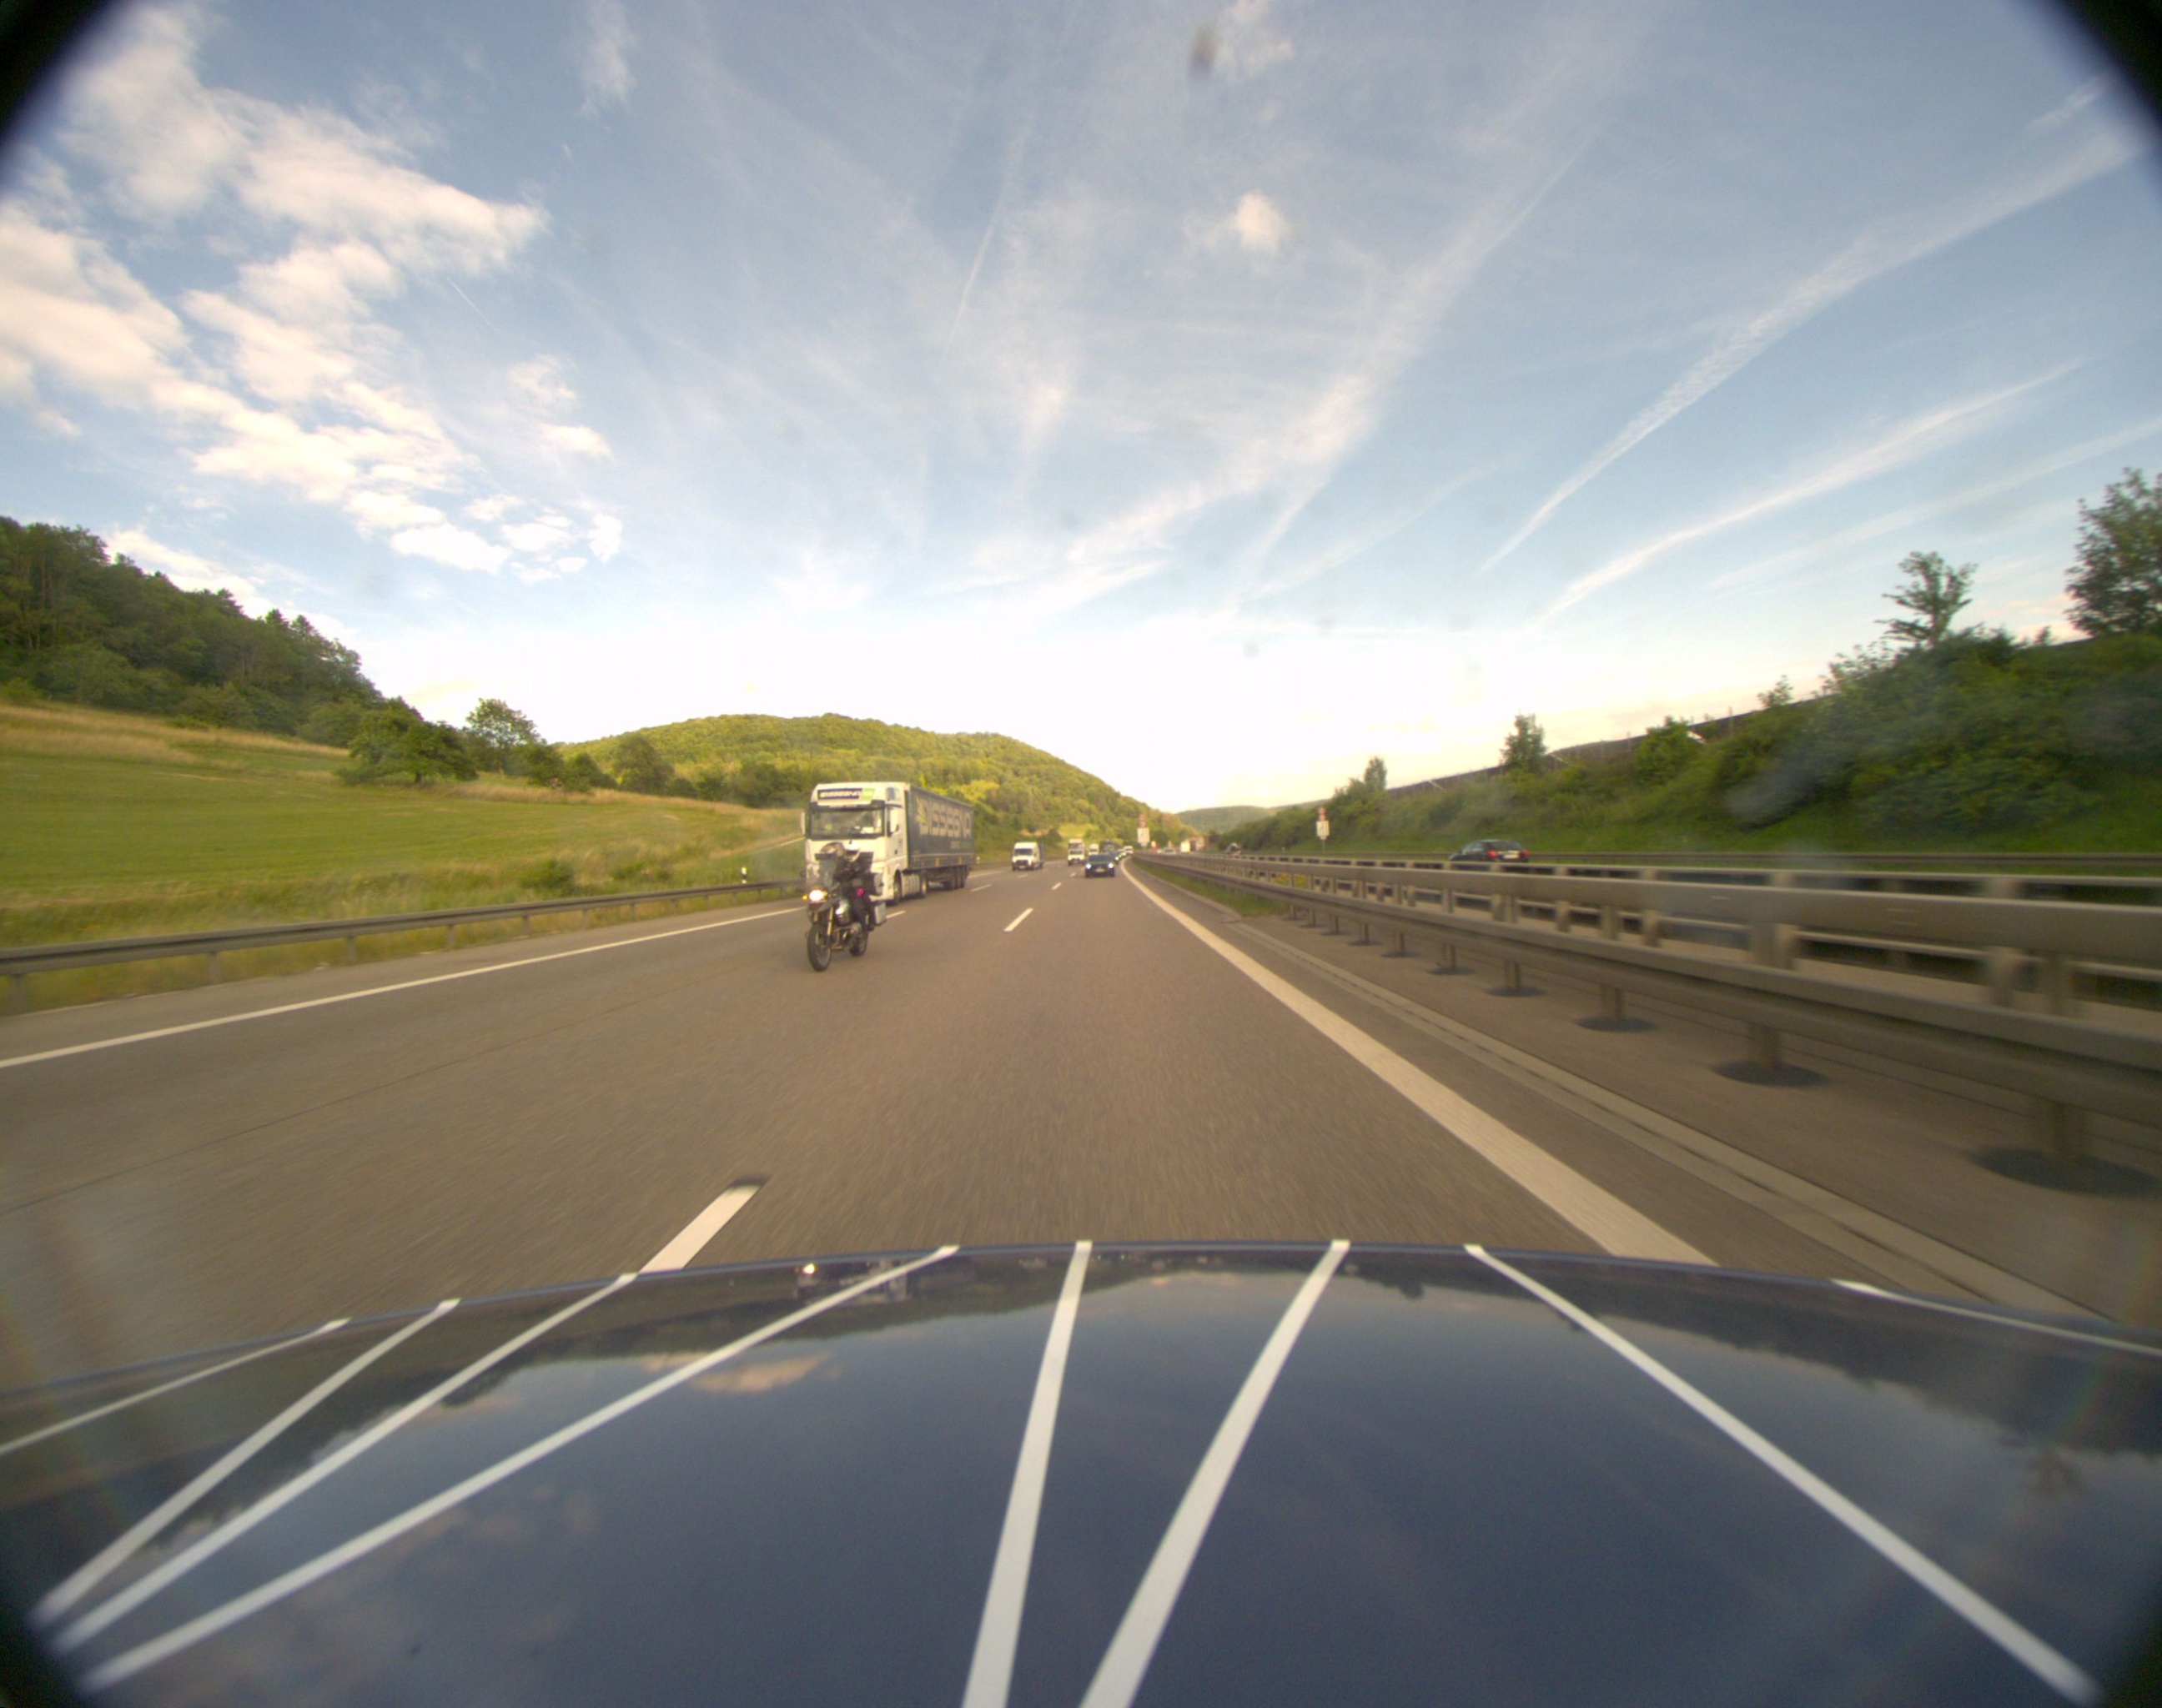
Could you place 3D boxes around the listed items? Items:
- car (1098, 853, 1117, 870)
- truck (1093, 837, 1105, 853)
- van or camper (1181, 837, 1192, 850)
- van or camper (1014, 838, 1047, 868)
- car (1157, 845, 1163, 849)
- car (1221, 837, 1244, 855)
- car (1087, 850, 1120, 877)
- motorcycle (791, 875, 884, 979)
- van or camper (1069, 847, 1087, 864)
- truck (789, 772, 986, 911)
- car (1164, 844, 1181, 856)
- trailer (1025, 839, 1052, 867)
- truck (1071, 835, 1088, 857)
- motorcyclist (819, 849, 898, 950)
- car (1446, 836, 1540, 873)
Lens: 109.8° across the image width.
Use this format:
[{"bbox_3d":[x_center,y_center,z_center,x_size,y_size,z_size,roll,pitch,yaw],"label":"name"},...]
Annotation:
[{"bbox_3d":[3.096,0.873,88.562,1.999,1.870,4.000,-1,0,-1],"label":"car"},{"bbox_3d":[4.342,-2.091,180.909,2.708,3.627,9.033,-2,0,1],"label":"truck"},{"bbox_3d":[31.525,-3.133,226.950,2.487,3.531,7.979,-2,0,4],"label":"van or camper"},{"bbox_3d":[-4.687,-0.094,71.630,1.998,2.701,7.525,-1,0,4],"label":"van or camper"},{"bbox_3d":[24.628,-2.190,236.446,1.784,1.401,3.763,-2,1,5],"label":"car"},{"bbox_3d":[18.885,-0.994,94.955,1.967,2.028,5.019,-2,1,1],"label":"car"},{"bbox_3d":[1.403,0.552,46.223,1.580,1.311,4.000,-4,2,6],"label":"car"},{"bbox_3d":[-3.514,1.011,11.111,0.628,1.331,1.739,-2,1,5],"label":"motorcycle"},{"bbox_3d":[-0.360,0.194,88.583,1.999,1.881,4.486,-2,0,-1],"label":"van or camper"},{"bbox_3d":[-6.763,-0.431,31.061,2.971,3.969,17.732,-2,0,1],"label":"truck"},{"bbox_3d":[12.819,-0.557,106.994,1.837,1.582,5.019,-2,1,1],"label":"car"},{"bbox_3d":[-4.270,-0.148,77.267,1.998,2.710,5.250,-2,1,4],"label":"trailer"},{"bbox_3d":[-0.203,-1.555,145.153,2.925,3.876,13.009,-2,0,1],"label":"truck"},{"bbox_3d":[-3.473,0.688,11.936,0.878,1.506,0.798,-2,1,6],"label":"motorcyclist"},{"bbox_3d":[16.994,-0.005,31.592,1.711,1.407,3.999,-2,1,0],"label":"car"}]
